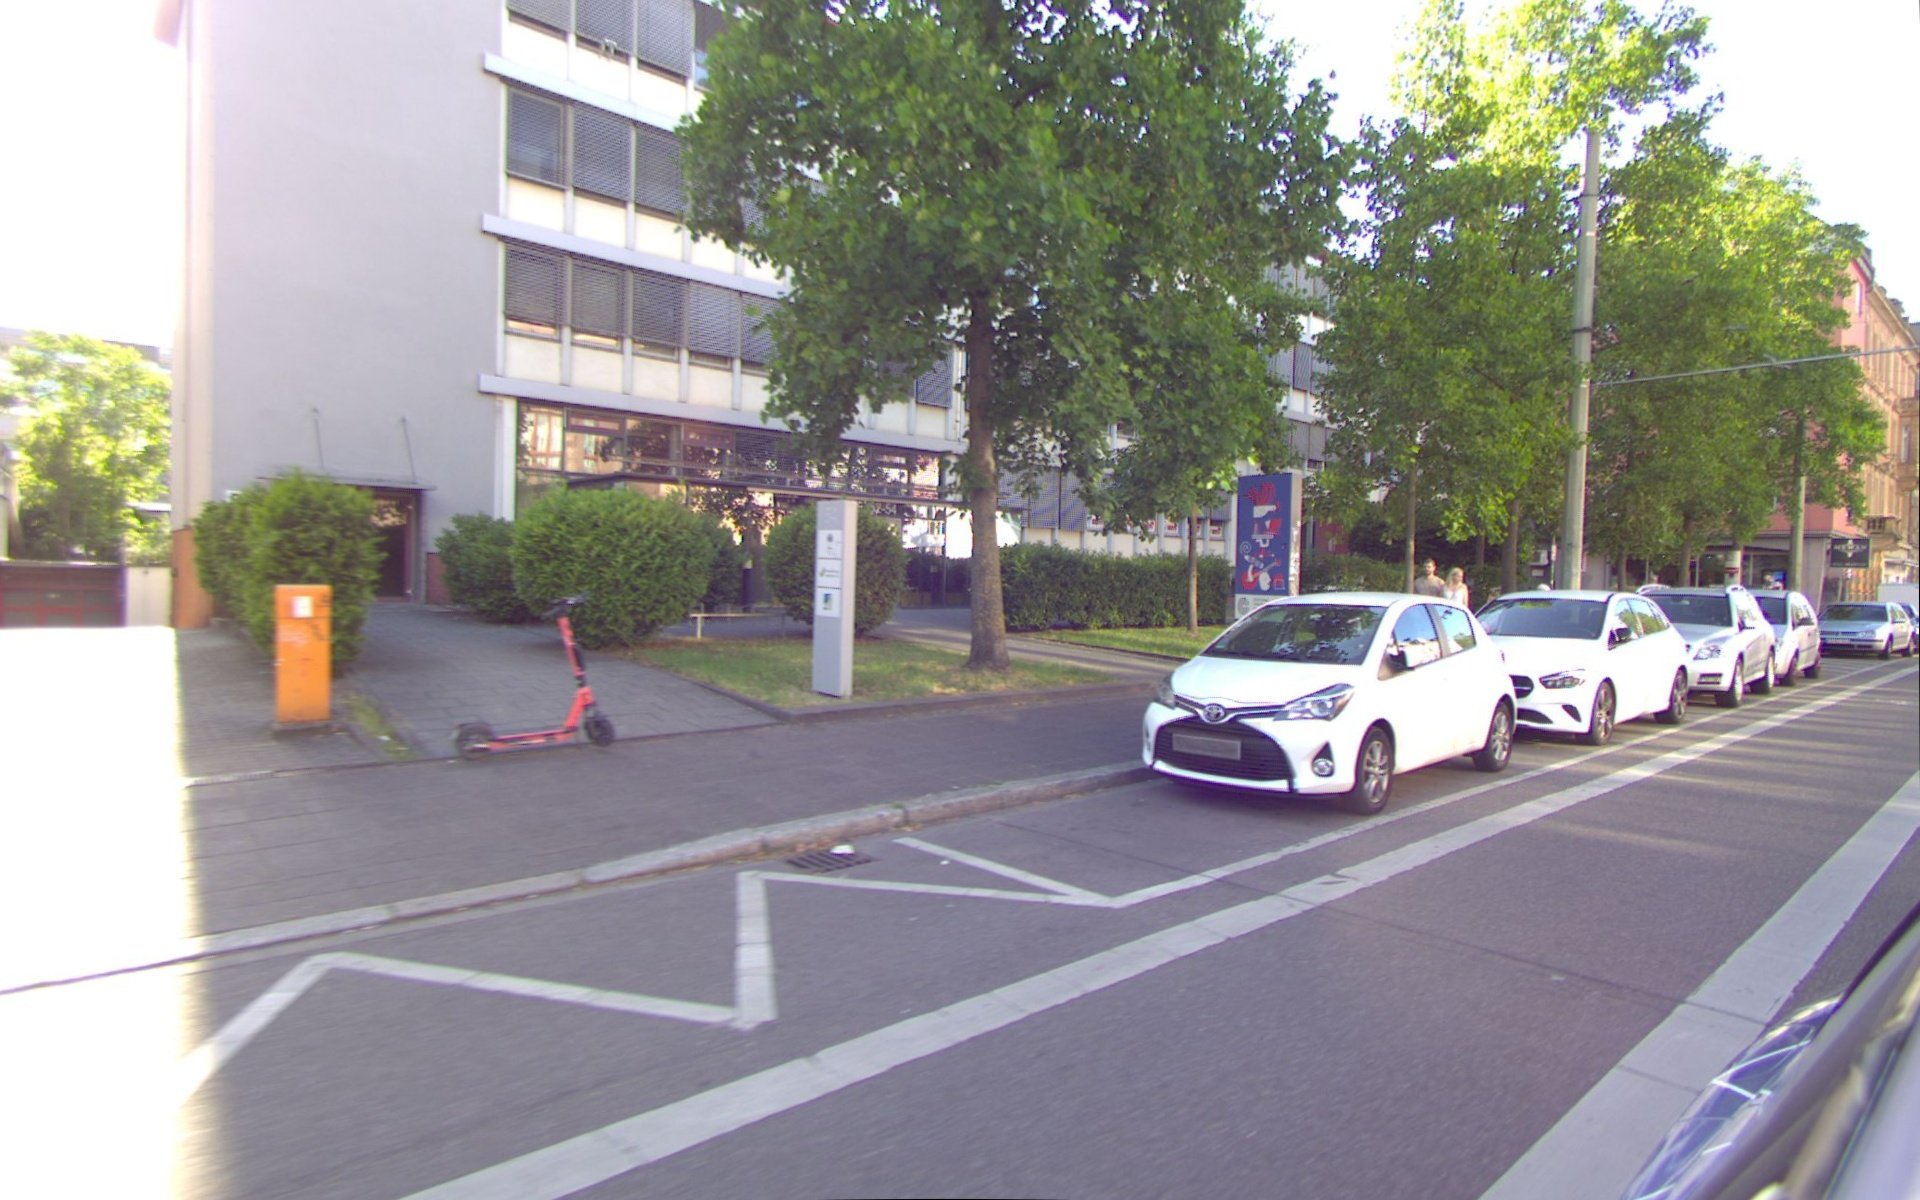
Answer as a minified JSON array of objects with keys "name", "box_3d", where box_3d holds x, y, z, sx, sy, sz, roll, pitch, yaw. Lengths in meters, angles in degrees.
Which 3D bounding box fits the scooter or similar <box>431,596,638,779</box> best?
[{"name":"scooter or similar","box_3d":[-3.181,0.607,7.608,1.290,1.224,0.582,1,5,-40]}]

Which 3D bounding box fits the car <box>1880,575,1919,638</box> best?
[{"name":"car","box_3d":[33.494,0.184,35.237,4.045,2.075,1.731,-1,1,-41]}]

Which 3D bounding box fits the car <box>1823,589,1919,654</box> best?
[{"name":"car","box_3d":[23.656,0.486,25.963,4.044,1.501,1.731,-1,1,-41]}]

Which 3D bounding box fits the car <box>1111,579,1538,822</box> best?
[{"name":"car","box_3d":[3.097,0.636,8.209,3.798,1.502,1.731,1,-1,-43]}]

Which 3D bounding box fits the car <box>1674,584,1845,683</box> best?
[{"name":"car","box_3d":[14.544,0.512,18.341,4.045,1.570,1.731,-1,1,-41]}]

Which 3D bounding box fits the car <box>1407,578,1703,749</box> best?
[{"name":"car","box_3d":[6.846,0.583,11.470,4.044,1.597,1.731,0,0,-41]}]

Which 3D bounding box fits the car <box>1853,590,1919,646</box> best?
[{"name":"car","box_3d":[27.510,0.485,29.491,4.045,1.501,1.731,-1,1,-41]}]

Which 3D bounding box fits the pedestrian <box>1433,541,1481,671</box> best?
[{"name":"pedestrian","box_3d":[8.026,0.092,16.343,0.564,2.039,0.507,0,0,-41]}]

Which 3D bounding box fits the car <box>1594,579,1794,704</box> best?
[{"name":"car","box_3d":[11.035,0.530,15.106,4.047,1.615,1.730,0,0,-44]}]

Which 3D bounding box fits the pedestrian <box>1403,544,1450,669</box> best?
[{"name":"pedestrian","box_3d":[7.764,0.098,16.839,0.564,2.039,0.507,0,0,-41]}]
